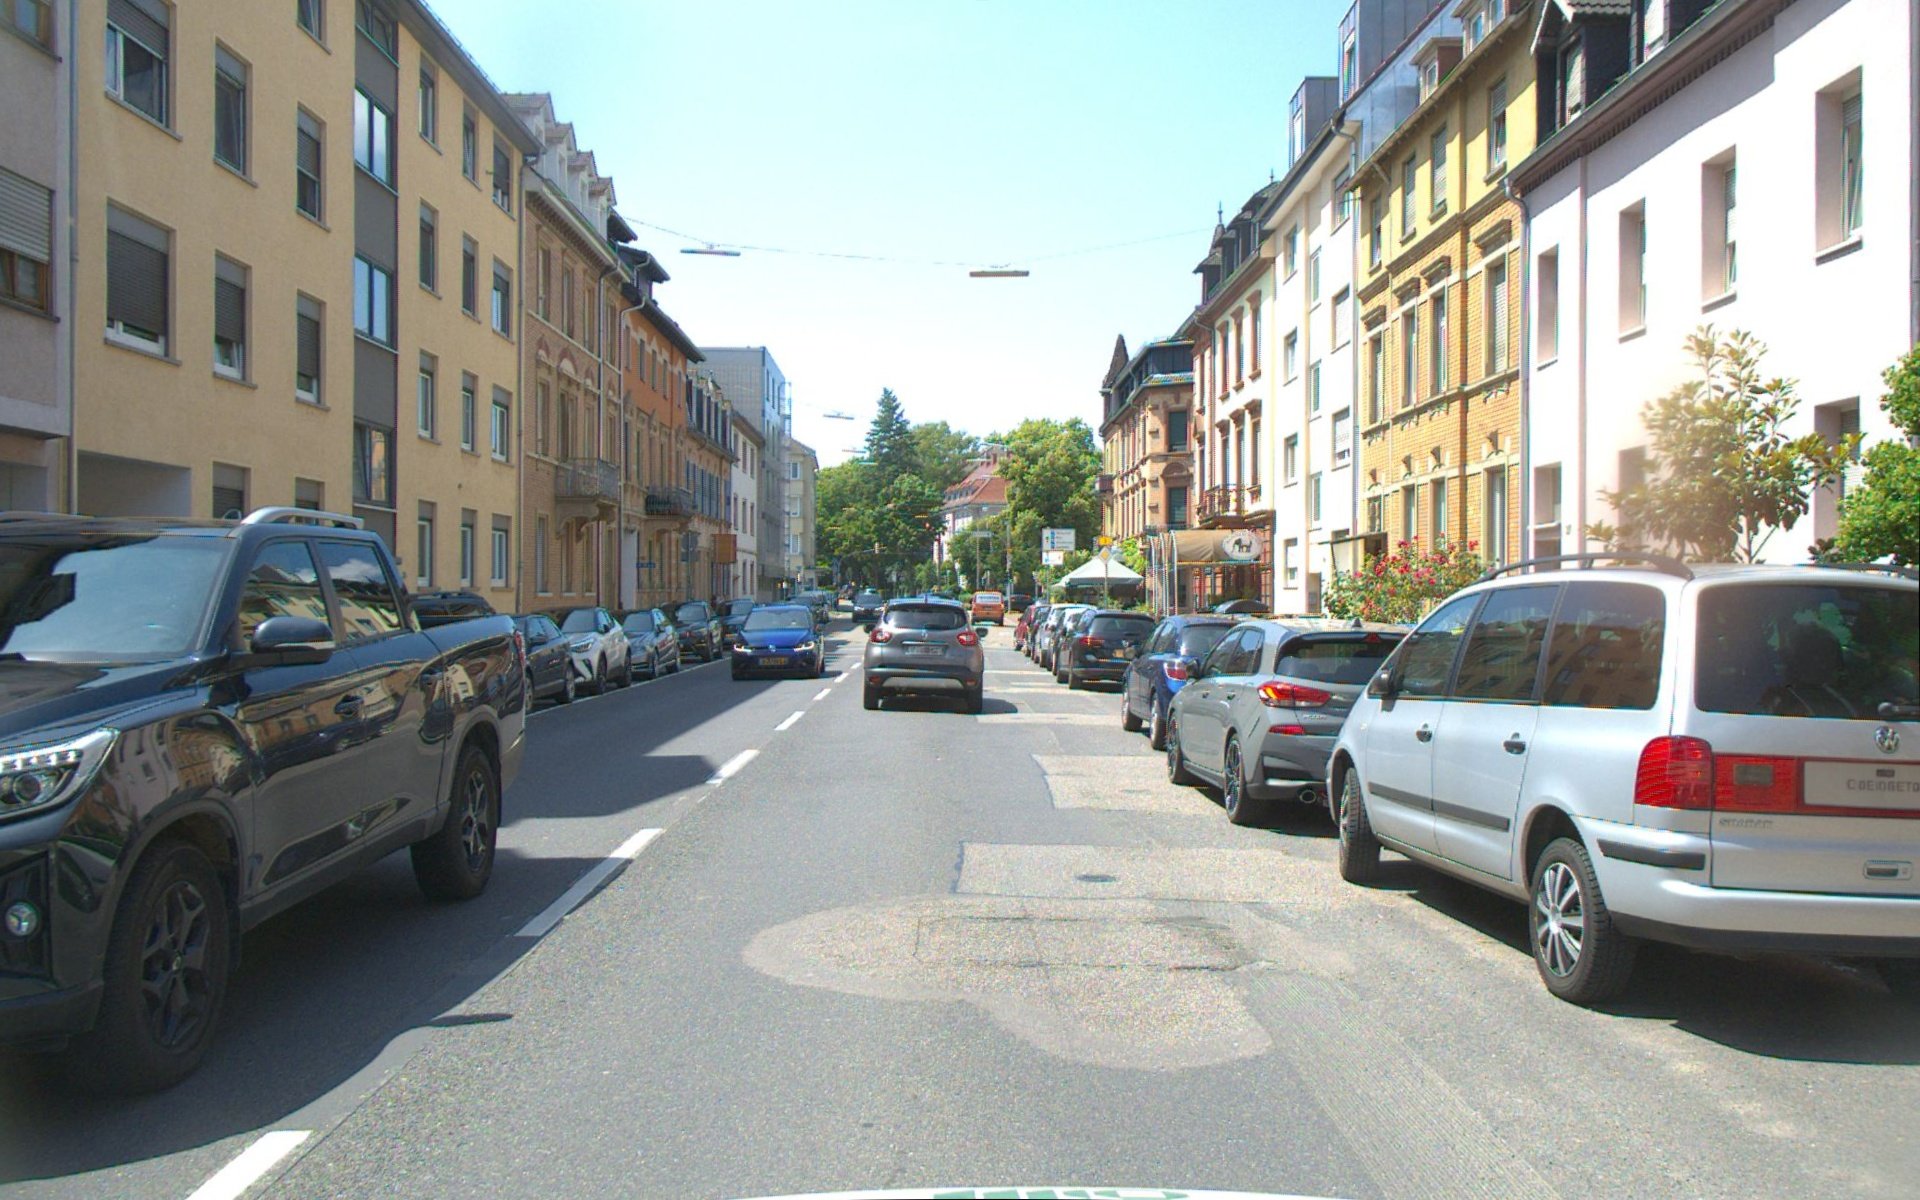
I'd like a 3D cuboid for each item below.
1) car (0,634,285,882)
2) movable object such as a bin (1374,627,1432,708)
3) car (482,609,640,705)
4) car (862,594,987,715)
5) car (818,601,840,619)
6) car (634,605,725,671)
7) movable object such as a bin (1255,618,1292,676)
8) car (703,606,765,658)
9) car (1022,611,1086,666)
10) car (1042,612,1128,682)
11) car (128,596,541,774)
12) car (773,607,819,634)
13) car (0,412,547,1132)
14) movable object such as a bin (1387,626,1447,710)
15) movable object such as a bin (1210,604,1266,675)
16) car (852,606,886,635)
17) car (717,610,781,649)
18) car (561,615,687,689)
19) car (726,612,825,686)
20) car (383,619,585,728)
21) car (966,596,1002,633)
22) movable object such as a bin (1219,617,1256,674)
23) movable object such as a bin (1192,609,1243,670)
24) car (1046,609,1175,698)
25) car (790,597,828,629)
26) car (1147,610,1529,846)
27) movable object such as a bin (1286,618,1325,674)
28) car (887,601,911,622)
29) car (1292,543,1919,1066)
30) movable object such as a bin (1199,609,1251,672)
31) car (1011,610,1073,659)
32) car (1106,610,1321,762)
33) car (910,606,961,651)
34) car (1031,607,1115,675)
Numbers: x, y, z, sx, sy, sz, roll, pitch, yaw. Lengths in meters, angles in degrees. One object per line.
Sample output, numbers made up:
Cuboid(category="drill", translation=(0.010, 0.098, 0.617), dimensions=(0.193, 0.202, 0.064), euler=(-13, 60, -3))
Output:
Cuboid(category="car", translation=(-6.728, 1.040, 11.990), dimensions=(1.802, 1.447, 4.557), euler=(-3, -1, -1))
Cuboid(category="movable object such as a bin", translation=(6.179, 0.937, 23.089), dimensions=(0.639, 1.102, 0.684), euler=(0, 0, 2))
Cuboid(category="car", translation=(-7.079, 0.958, 29.787), dimensions=(1.866, 1.537, 4.301), euler=(-2, 0, -2))
Cuboid(category="car", translation=(-0.547, 0.767, 24.909), dimensions=(1.709, 1.645, 3.998), euler=(1, 0, -2))
Cuboid(category="car", translation=(-12.496, 0.975, 157.798), dimensions=(1.753, 1.654, 3.743), euler=(0, 0, 1))
Cuboid(category="car", translation=(-7.602, 0.996, 45.134), dimensions=(1.866, 1.648, 4.300), euler=(-2, 0, -2))
Cuboid(category="movable object such as a bin", translation=(6.831, 1.017, 36.061), dimensions=(0.625, 1.207, 0.852), euler=(1, 0, 1))
Cuboid(category="car", translation=(-7.699, 1.060, 56.555), dimensions=(1.868, 1.648, 4.297), euler=(-2, 0, -5))
Cuboid(category="car", translation=(2.638, 1.068, 47.085), dimensions=(1.578, 1.487, 3.504), euler=(1, 0, -1))
Cuboid(category="car", translation=(2.831, 1.046, 38.140), dimensions=(1.626, 1.466, 3.999), euler=(2, 0, -1))
Cuboid(category="car", translation=(-6.613, 0.828, 18.130), dimensions=(1.864, 1.666, 4.561), euler=(-2, 0, 15))
Cuboid(category="car", translation=(-8.204, 1.004, 82.982), dimensions=(1.866, 1.314, 4.302), euler=(0, 0, 0))
Cuboid(category="car", translation=(-3.329, 0.456, 6.765), dimensions=(1.953, 1.824, 5.148), euler=(-1, 0, 0))
Cuboid(category="movable object such as a bin", translation=(6.149, 0.910, 22.277), dimensions=(0.639, 1.102, 0.684), euler=(0, 0, 2))
Cuboid(category="movable object such as a bin", translation=(6.271, 0.872, 37.404), dimensions=(1.021, 1.544, 1.446), euler=(1, 0, 1))
Cuboid(category="car", translation=(-5.305, 1.178, 97.045), dimensions=(1.900, 1.654, 3.998), euler=(1, 0, -3))
Cuboid(category="car", translation=(-7.892, 1.084, 62.220), dimensions=(1.866, 1.381, 4.301), euler=(-2, 0, -1))
Cuboid(category="car", translation=(-7.259, 1.080, 36.182), dimensions=(1.866, 1.425, 4.753), euler=(-2, 0, -2))
Cuboid(category="car", translation=(-3.754, 0.973, 34.163), dimensions=(1.780, 1.413, 3.997), euler=(0, 0, -3))
Cuboid(category="car", translation=(-6.975, 1.023, 24.670), dimensions=(1.866, 1.403, 4.060), euler=(-2, 0, -1))
Cuboid(category="car", translation=(1.337, 0.799, 95.045), dimensions=(1.953, 2.049, 4.465), euler=(-1, 0, -1))
Cuboid(category="movable object such as a bin", translation=(6.037, 0.986, 36.011), dimensions=(0.625, 1.197, 0.911), euler=(1, 0, 1))
Cuboid(category="movable object such as a bin", translation=(6.220, 0.953, 40.031), dimensions=(1.021, 1.426, 1.254), euler=(1, 0, 1))
Cuboid(category="car", translation=(2.767, 0.950, 31.347), dimensions=(1.823, 1.490, 4.616), euler=(2, 0, -2))
Cuboid(category="car", translation=(-8.785, 0.748, 96.589), dimensions=(1.866, 1.853, 4.302), euler=(0, 0, 0))
Cuboid(category="car", translation=(2.796, 0.874, 13.268), dimensions=(1.823, 1.513, 4.306), euler=(2, 0, -3))
Cuboid(category="movable object such as a bin", translation=(7.531, 0.997, 36.068), dimensions=(0.654, 1.197, 0.852), euler=(1, 0, 1))
Cuboid(category="car", translation=(-4.862, 0.885, 131.294), dimensions=(1.755, 1.654, 3.739), euler=(0, 0, -5))
Cuboid(category="car", translation=(3.176, 0.728, 8.048), dimensions=(1.824, 1.778, 4.613), euler=(2, 0, -5))
Cuboid(category="movable object such as a bin", translation=(6.205, 0.937, 38.774), dimensions=(1.021, 1.426, 1.254), euler=(1, 0, 1))
Cuboid(category="car", translation=(2.585, 1.079, 52.792), dimensions=(1.579, 1.468, 3.434), euler=(1, 0, -4))
Cuboid(category="car", translation=(2.868, 0.917, 19.650), dimensions=(1.661, 1.513, 4.616), euler=(2, 0, -2))
Cuboid(category="car", translation=(-0.981, 1.073, 63.941), dimensions=(1.776, 1.649, 4.438), euler=(-1, 0, -3))
Cuboid(category="car", translation=(2.834, 1.005, 42.232), dimensions=(1.822, 1.580, 3.999), euler=(2, 0, 0))
